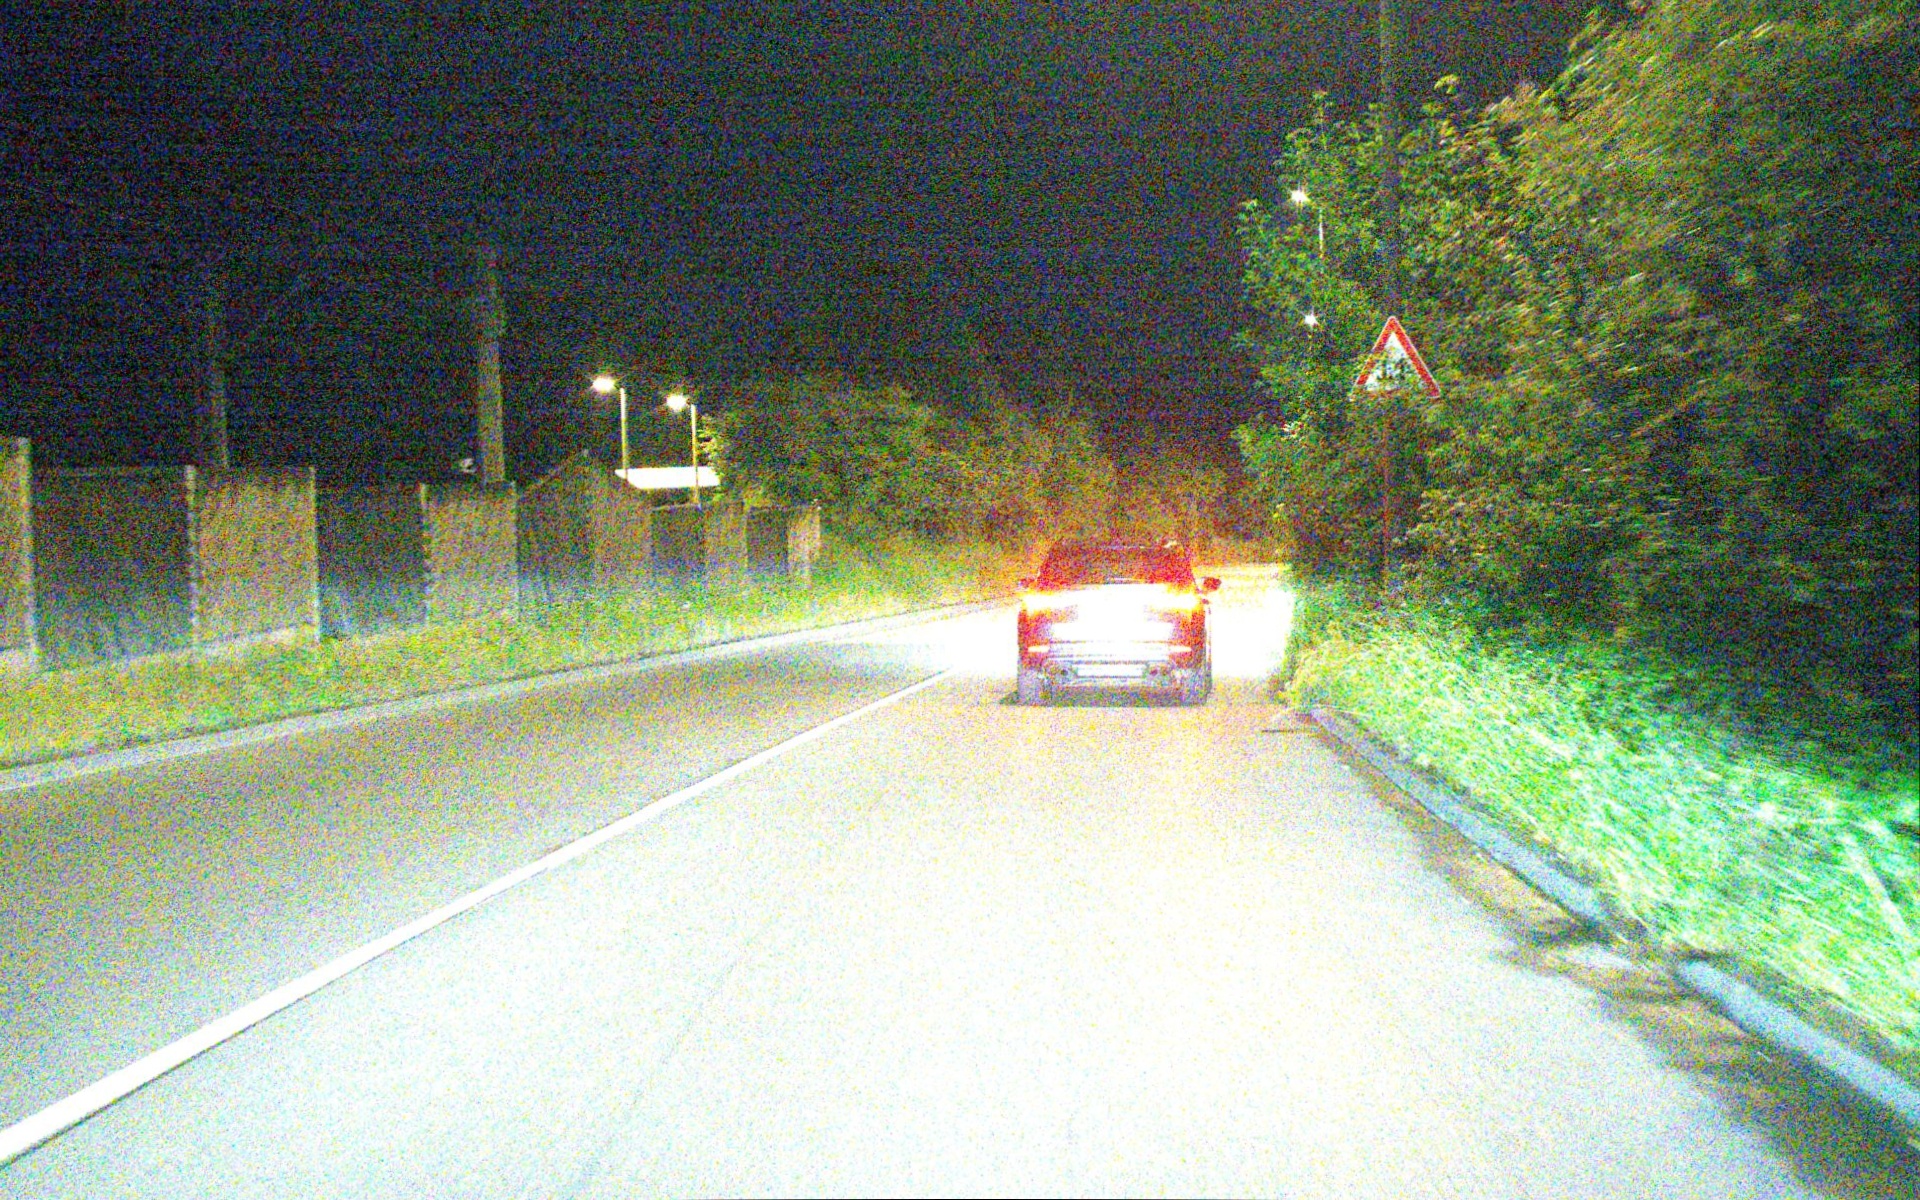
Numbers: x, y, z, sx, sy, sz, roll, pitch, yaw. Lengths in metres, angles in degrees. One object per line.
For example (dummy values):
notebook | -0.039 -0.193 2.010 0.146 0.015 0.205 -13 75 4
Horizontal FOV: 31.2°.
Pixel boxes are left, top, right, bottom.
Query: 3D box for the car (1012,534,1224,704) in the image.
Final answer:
car | 1.606 0.139 33.738 1.815 1.568 3.942 0 1 7
